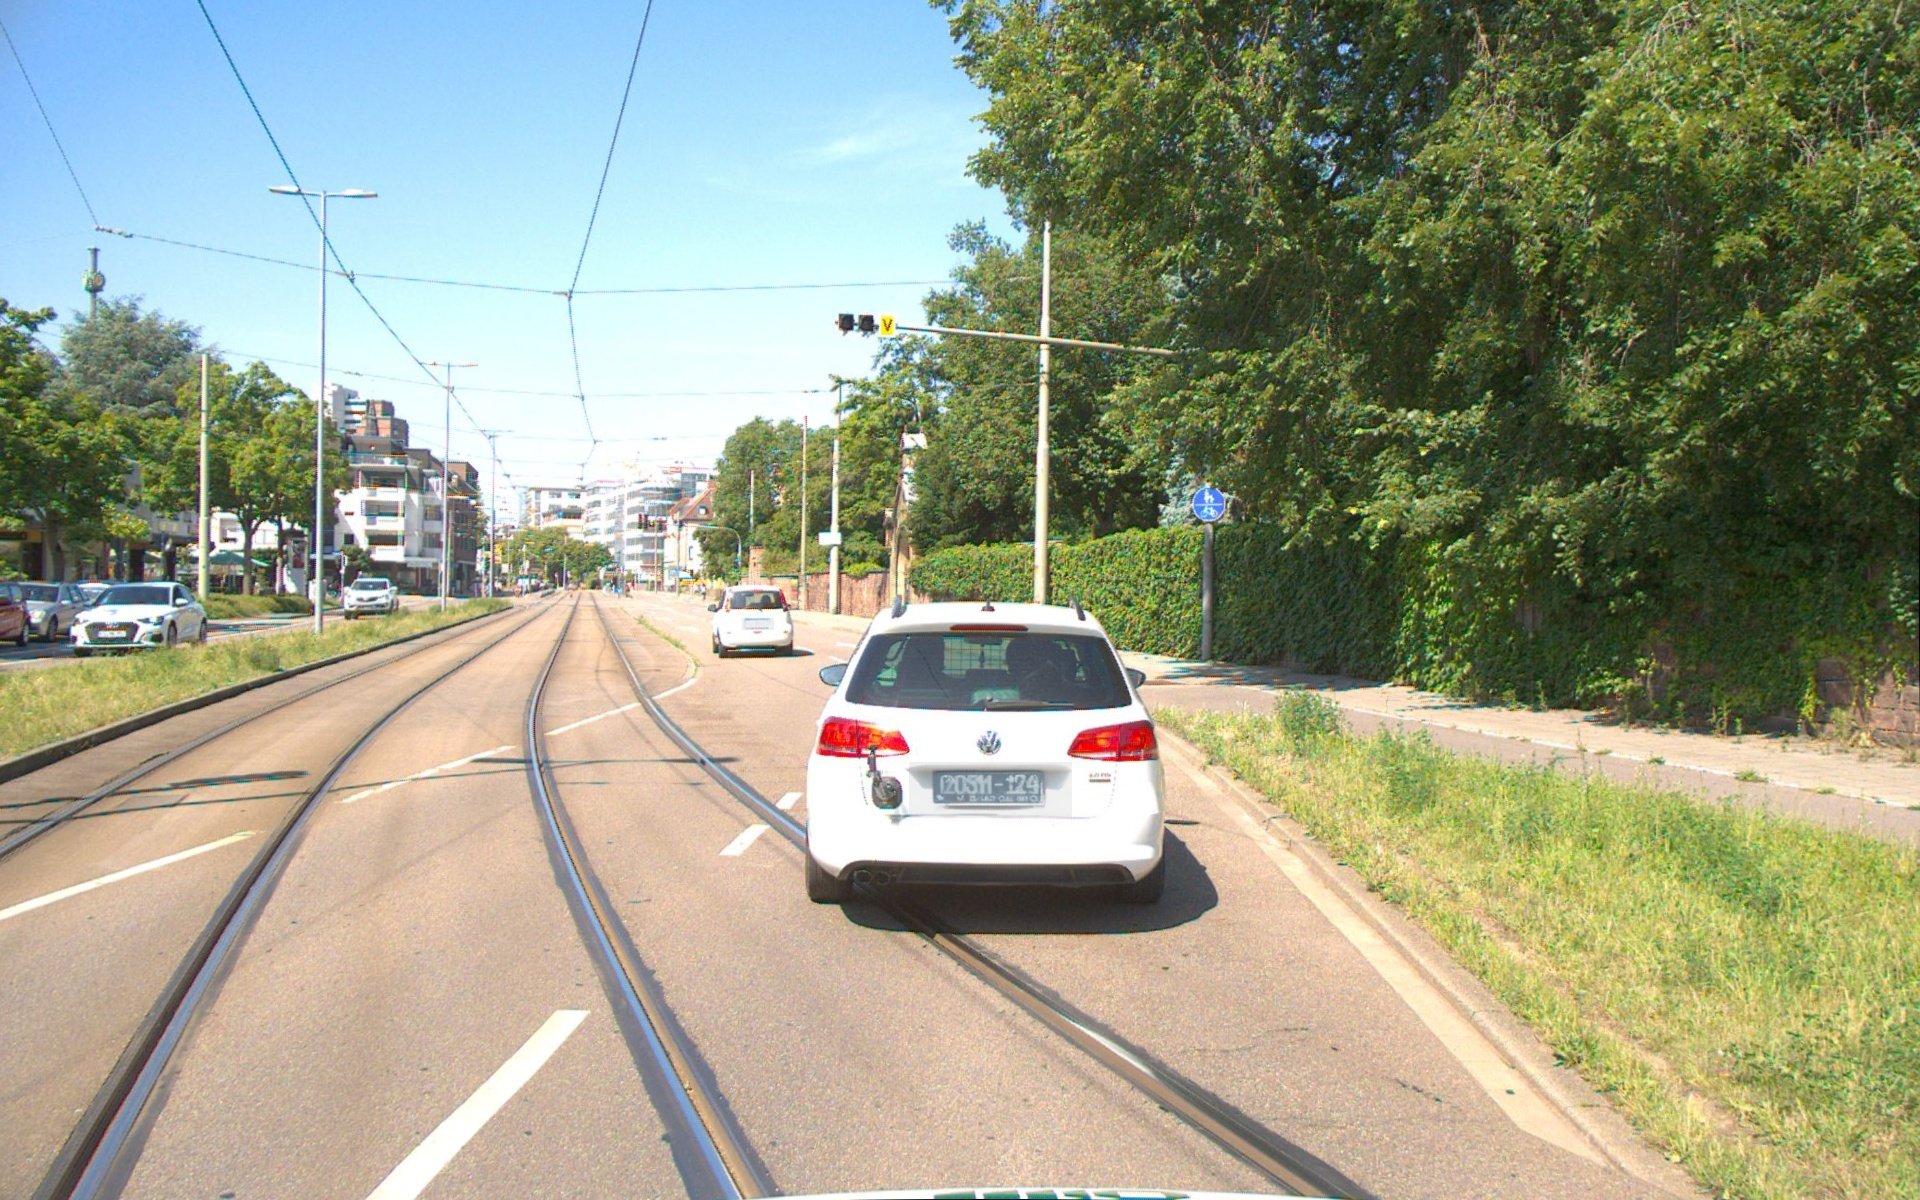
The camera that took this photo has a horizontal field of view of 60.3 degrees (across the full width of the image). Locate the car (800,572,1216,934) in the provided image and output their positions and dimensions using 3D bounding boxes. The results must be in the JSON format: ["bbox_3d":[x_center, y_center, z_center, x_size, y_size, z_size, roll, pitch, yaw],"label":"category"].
[{"bbox_3d":[0.178,0.616,8.905,1.742,1.516,3.846,1,1,-1],"label":"car"}]

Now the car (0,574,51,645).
[{"bbox_3d":[-21.567,0.175,36.904,1.269,1.516,3.665,0,1,-12],"label":"car"}]

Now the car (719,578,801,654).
[{"bbox_3d":[-4.503,0.319,37.675,1.696,1.624,4.007,1,1,-5],"label":"car"}]

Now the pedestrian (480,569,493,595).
[{"bbox_3d":[-31.887,-1.222,111.361,0.814,1.769,0.926,0,0,-21],"label":"pedestrian"}]

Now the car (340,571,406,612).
[{"bbox_3d":[-24.025,-0.374,67.795,2.008,1.625,4.645,0,1,-13],"label":"car"}]

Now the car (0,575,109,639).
[{"bbox_3d":[-22.563,0.142,41.324,1.269,1.516,4.337,0,1,-13],"label":"car"}]

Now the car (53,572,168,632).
[{"bbox_3d":[-23.752,0.008,46.406,1.575,1.516,4.605,3,1,-11],"label":"car"}]

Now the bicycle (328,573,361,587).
[{"bbox_3d":[-40.261,-1.296,108.139,0.541,0.937,2.173,1,1,30],"label":"bicycle"}]

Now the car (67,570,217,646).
[{"bbox_3d":[-16.644,0.125,33.873,1.760,1.447,4.322,0,1,-12],"label":"car"}]
